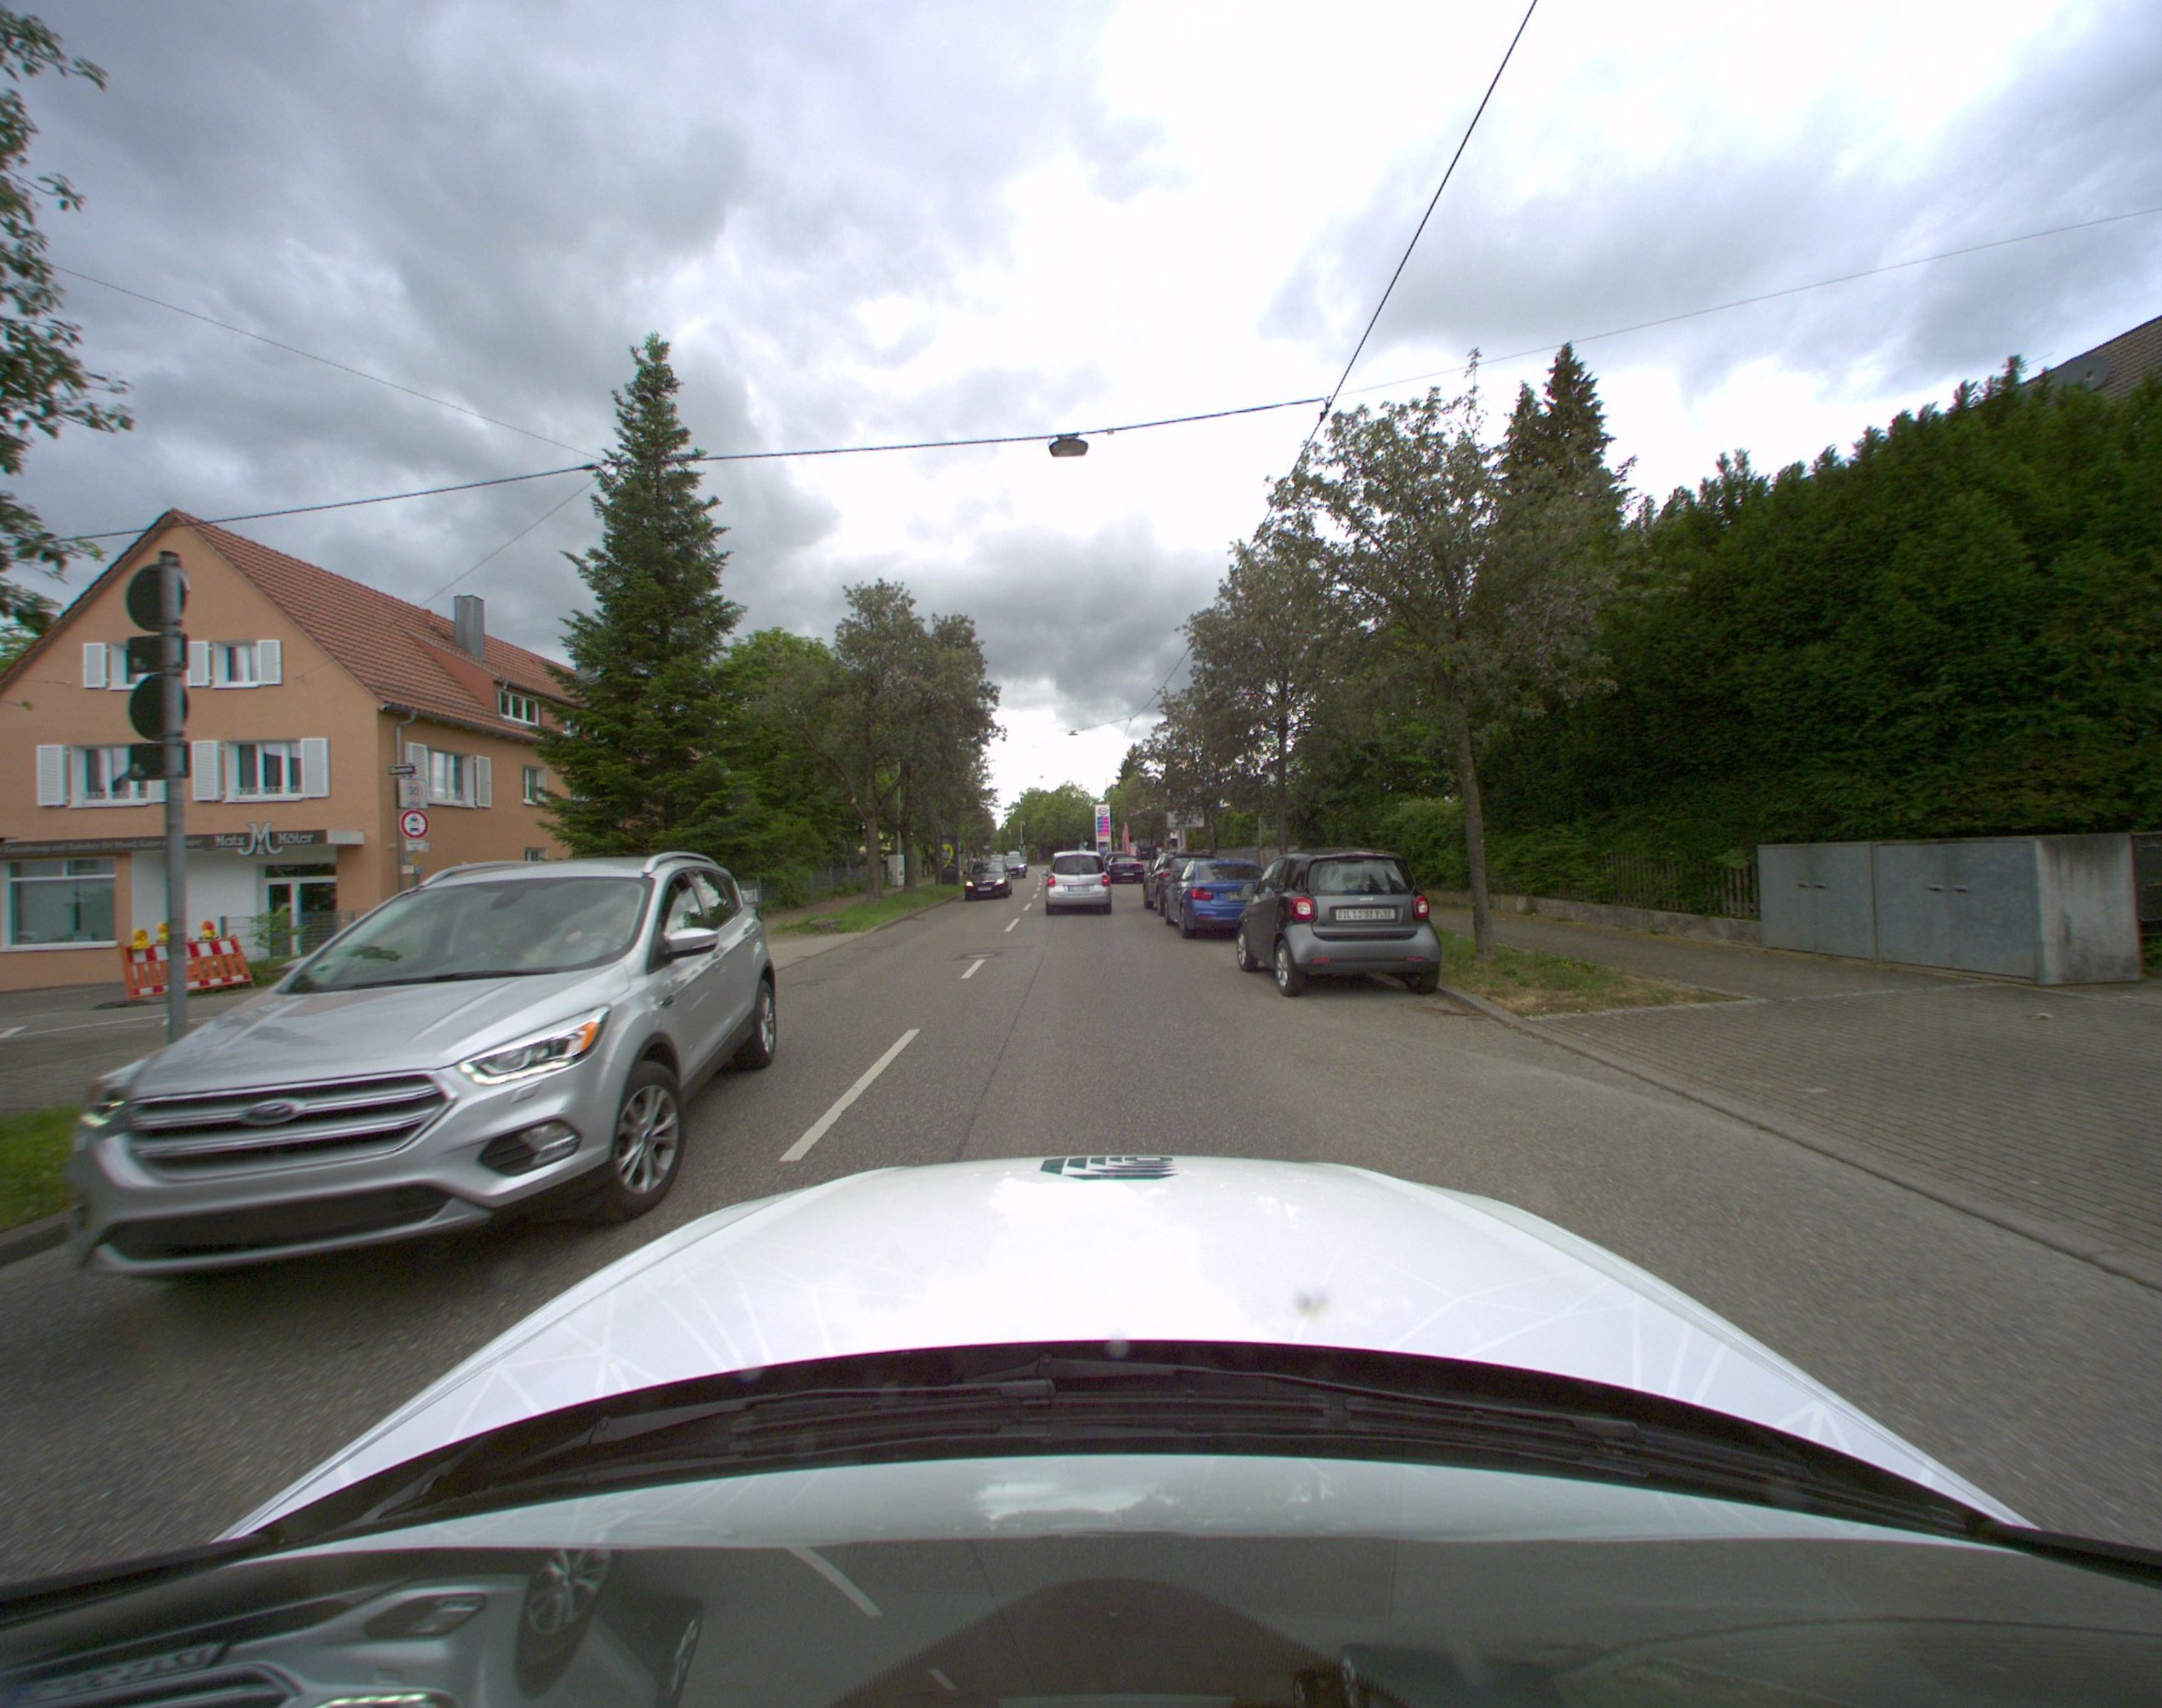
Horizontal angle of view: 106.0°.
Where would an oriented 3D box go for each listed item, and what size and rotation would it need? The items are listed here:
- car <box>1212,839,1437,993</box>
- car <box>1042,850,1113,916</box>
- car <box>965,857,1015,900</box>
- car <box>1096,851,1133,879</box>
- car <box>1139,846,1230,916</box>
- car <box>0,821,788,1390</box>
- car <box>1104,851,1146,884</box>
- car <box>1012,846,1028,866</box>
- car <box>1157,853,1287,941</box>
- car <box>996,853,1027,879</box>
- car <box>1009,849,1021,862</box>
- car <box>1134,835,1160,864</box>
[{"bbox_3d":[2.799,0.641,10.268,1.690,1.557,3.955,0,0,0],"label":"car"},{"bbox_3d":[-0.092,0.683,21.375,1.674,1.560,3.511,-1,0,0],"label":"car"},{"bbox_3d":[-3.478,0.908,31.649,1.540,1.470,3.740,-4,0,-1],"label":"car"},{"bbox_3d":[1.896,0.596,46.874,1.692,1.506,3.640,-2,0,-3],"label":"car"},{"bbox_3d":[2.575,0.624,21.111,1.691,1.570,3.953,-2,0,-2],"label":"car"},{"bbox_3d":[-2.968,0.797,4.756,1.743,1.706,4.082,-3,0,-12],"label":"car"},{"bbox_3d":[2.194,0.646,41.494,1.692,1.506,3.968,-2,0,-3],"label":"car"},{"bbox_3d":[-7.957,0.257,106.832,1.930,2.408,3.996,-2,0,-3],"label":"car"},{"bbox_3d":[2.555,0.715,15.742,1.692,1.433,4.338,-1,0,-1],"label":"car"},{"bbox_3d":[-4.718,0.794,55.558,1.789,1.555,3.669,-5,0,-2],"label":"car"},{"bbox_3d":[-11.215,0.257,138.508,1.735,2.013,3.998,-2,0,-1],"label":"car"},{"bbox_3d":[6.993,-0.454,86.739,2.274,2.911,5.277,-1,0,-1],"label":"car"}]
